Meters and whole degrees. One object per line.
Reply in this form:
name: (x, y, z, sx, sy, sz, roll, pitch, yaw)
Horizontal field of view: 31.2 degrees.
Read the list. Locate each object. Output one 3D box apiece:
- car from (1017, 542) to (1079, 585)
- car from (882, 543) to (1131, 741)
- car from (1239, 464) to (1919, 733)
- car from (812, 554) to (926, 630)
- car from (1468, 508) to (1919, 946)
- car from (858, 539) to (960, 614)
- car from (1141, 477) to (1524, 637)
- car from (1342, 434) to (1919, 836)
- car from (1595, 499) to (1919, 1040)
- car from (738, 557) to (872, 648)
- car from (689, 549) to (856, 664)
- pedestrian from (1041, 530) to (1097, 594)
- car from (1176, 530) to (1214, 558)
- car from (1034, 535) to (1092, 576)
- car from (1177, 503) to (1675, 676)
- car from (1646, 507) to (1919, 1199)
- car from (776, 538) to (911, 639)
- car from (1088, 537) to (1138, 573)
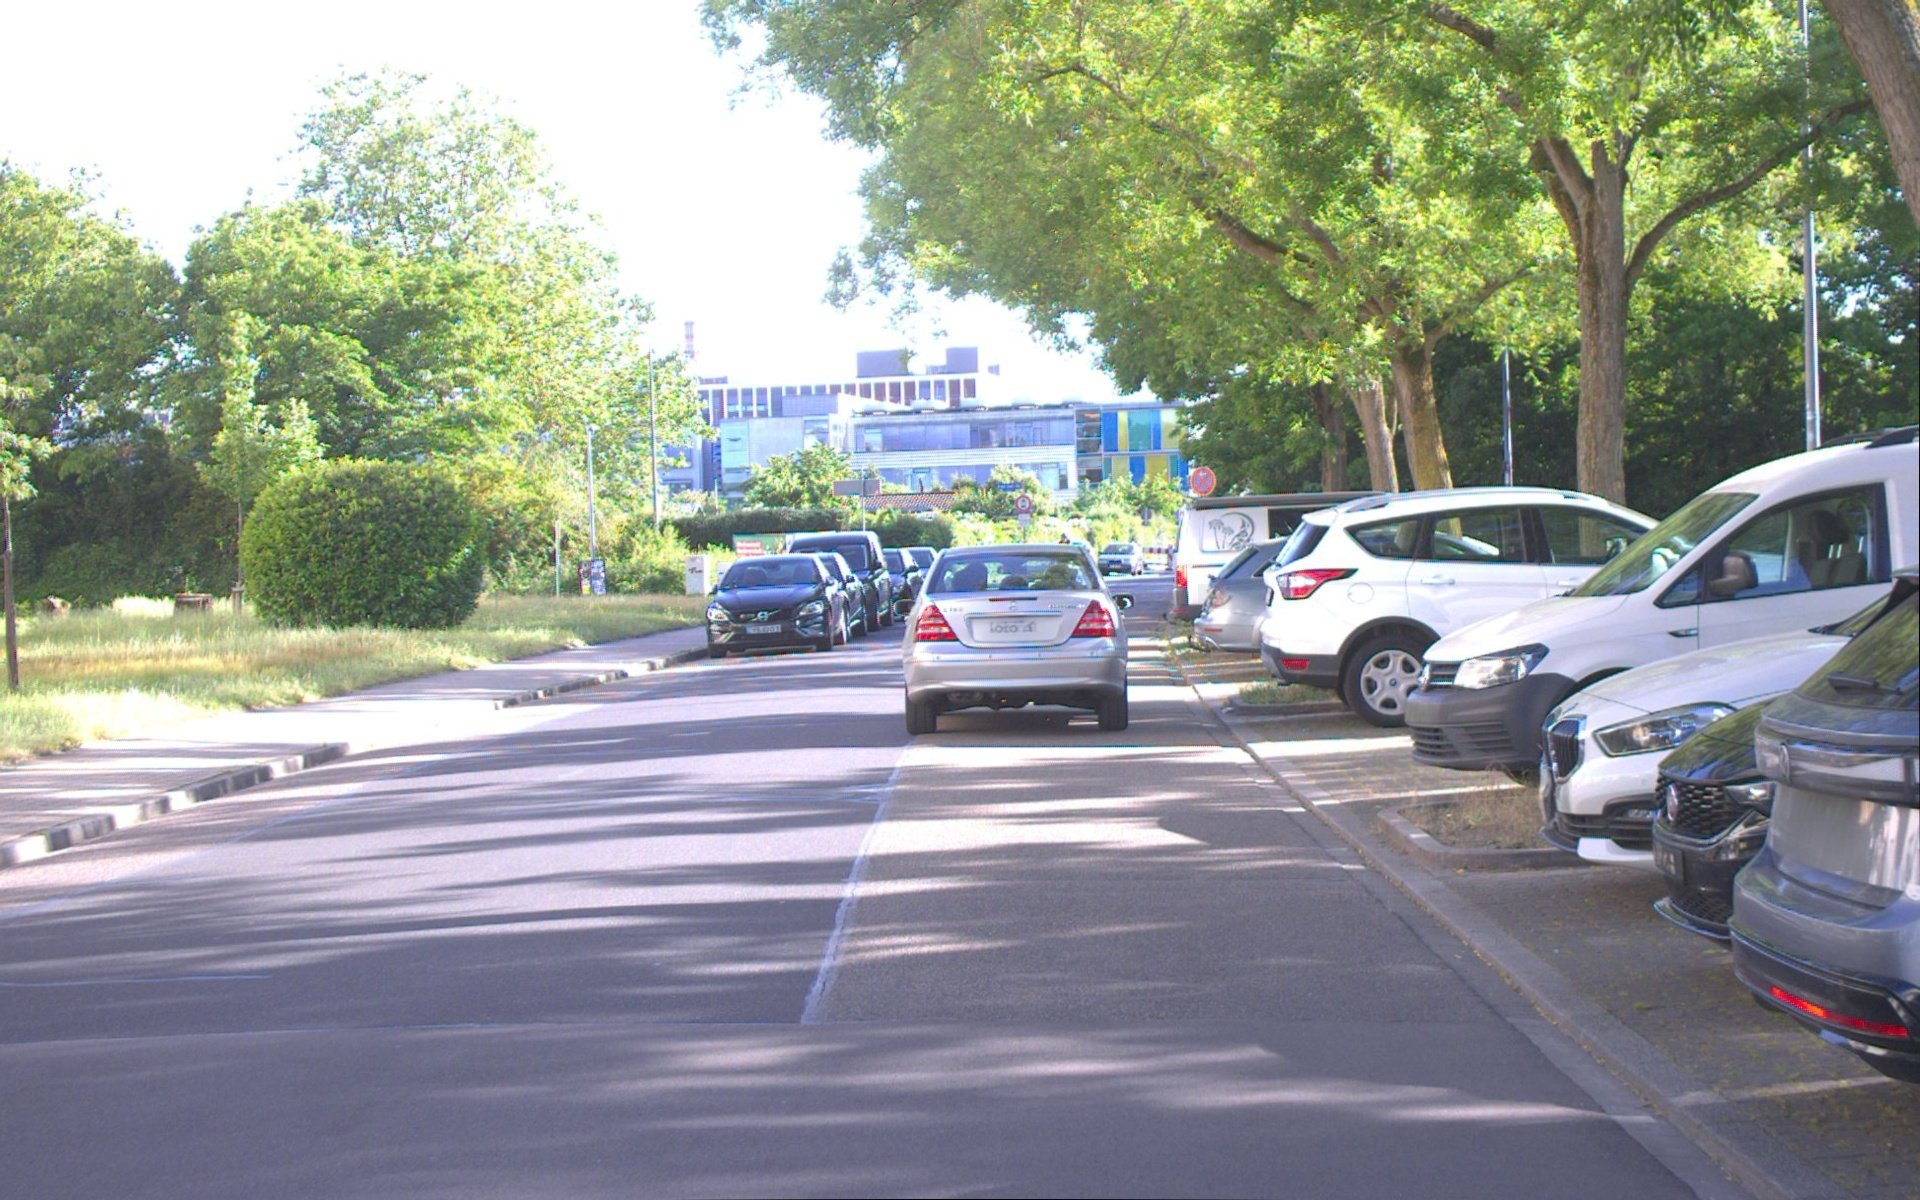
car: (3.240, -1.353, 126.159, 1.894, 1.497, 3.656, -2, 1, 7)
car: (0.424, 0.310, 26.809, 1.733, 1.429, 3.437, -1, 0, 4)
car: (4.639, -0.033, 25.940, 4.884, 1.717, 2.000, -3, 1, 2)
car: (-1.812, -0.180, 69.645, 1.750, 1.325, 3.450, -4, 1, 7)
car: (4.438, 0.366, 13.660, 4.444, 1.512, 2.000, -3, 1, -1)
car: (-1.099, -0.542, 76.183, 1.750, 1.515, 4.192, -3, 1, 5)
car: (5.202, -0.613, 48.575, 5.218, 2.052, 2.000, -2, 1, 3)
car: (4.703, 0.100, 18.492, 4.883, 1.917, 2.000, -3, 1, -6)
car: (4.395, 0.420, 10.890, 4.427, 1.566, 1.737, -2, 1, 2)
car: (-2.530, 0.020, 57.015, 1.750, 1.318, 3.742, -4, 1, 3)
car: (-2.733, 0.060, 51.025, 1.913, 1.485, 3.836, -4, 1, 4)
pedestrian: (3.645, -1.269, 114.695, 1.575, 2.082, 1.723, -2, 1, 10)
car: (13.126, -3.128, 191.829, 1.894, 1.497, 3.656, -2, 1, 7)
car: (4.047, -1.743, 134.405, 1.894, 1.497, 3.656, -2, 1, 7)
car: (4.836, -0.127, 36.179, 4.884, 1.622, 2.000, -2, 1, -2)
car: (4.303, 0.485, 8.411, 4.782, 1.543, 2.012, -2, 1, -1)
car: (-2.099, -0.241, 63.076, 1.750, 1.682, 4.263, -3, 1, 7)
car: (6.789, -1.986, 151.959, 1.894, 1.497, 3.656, -2, 1, 7)
